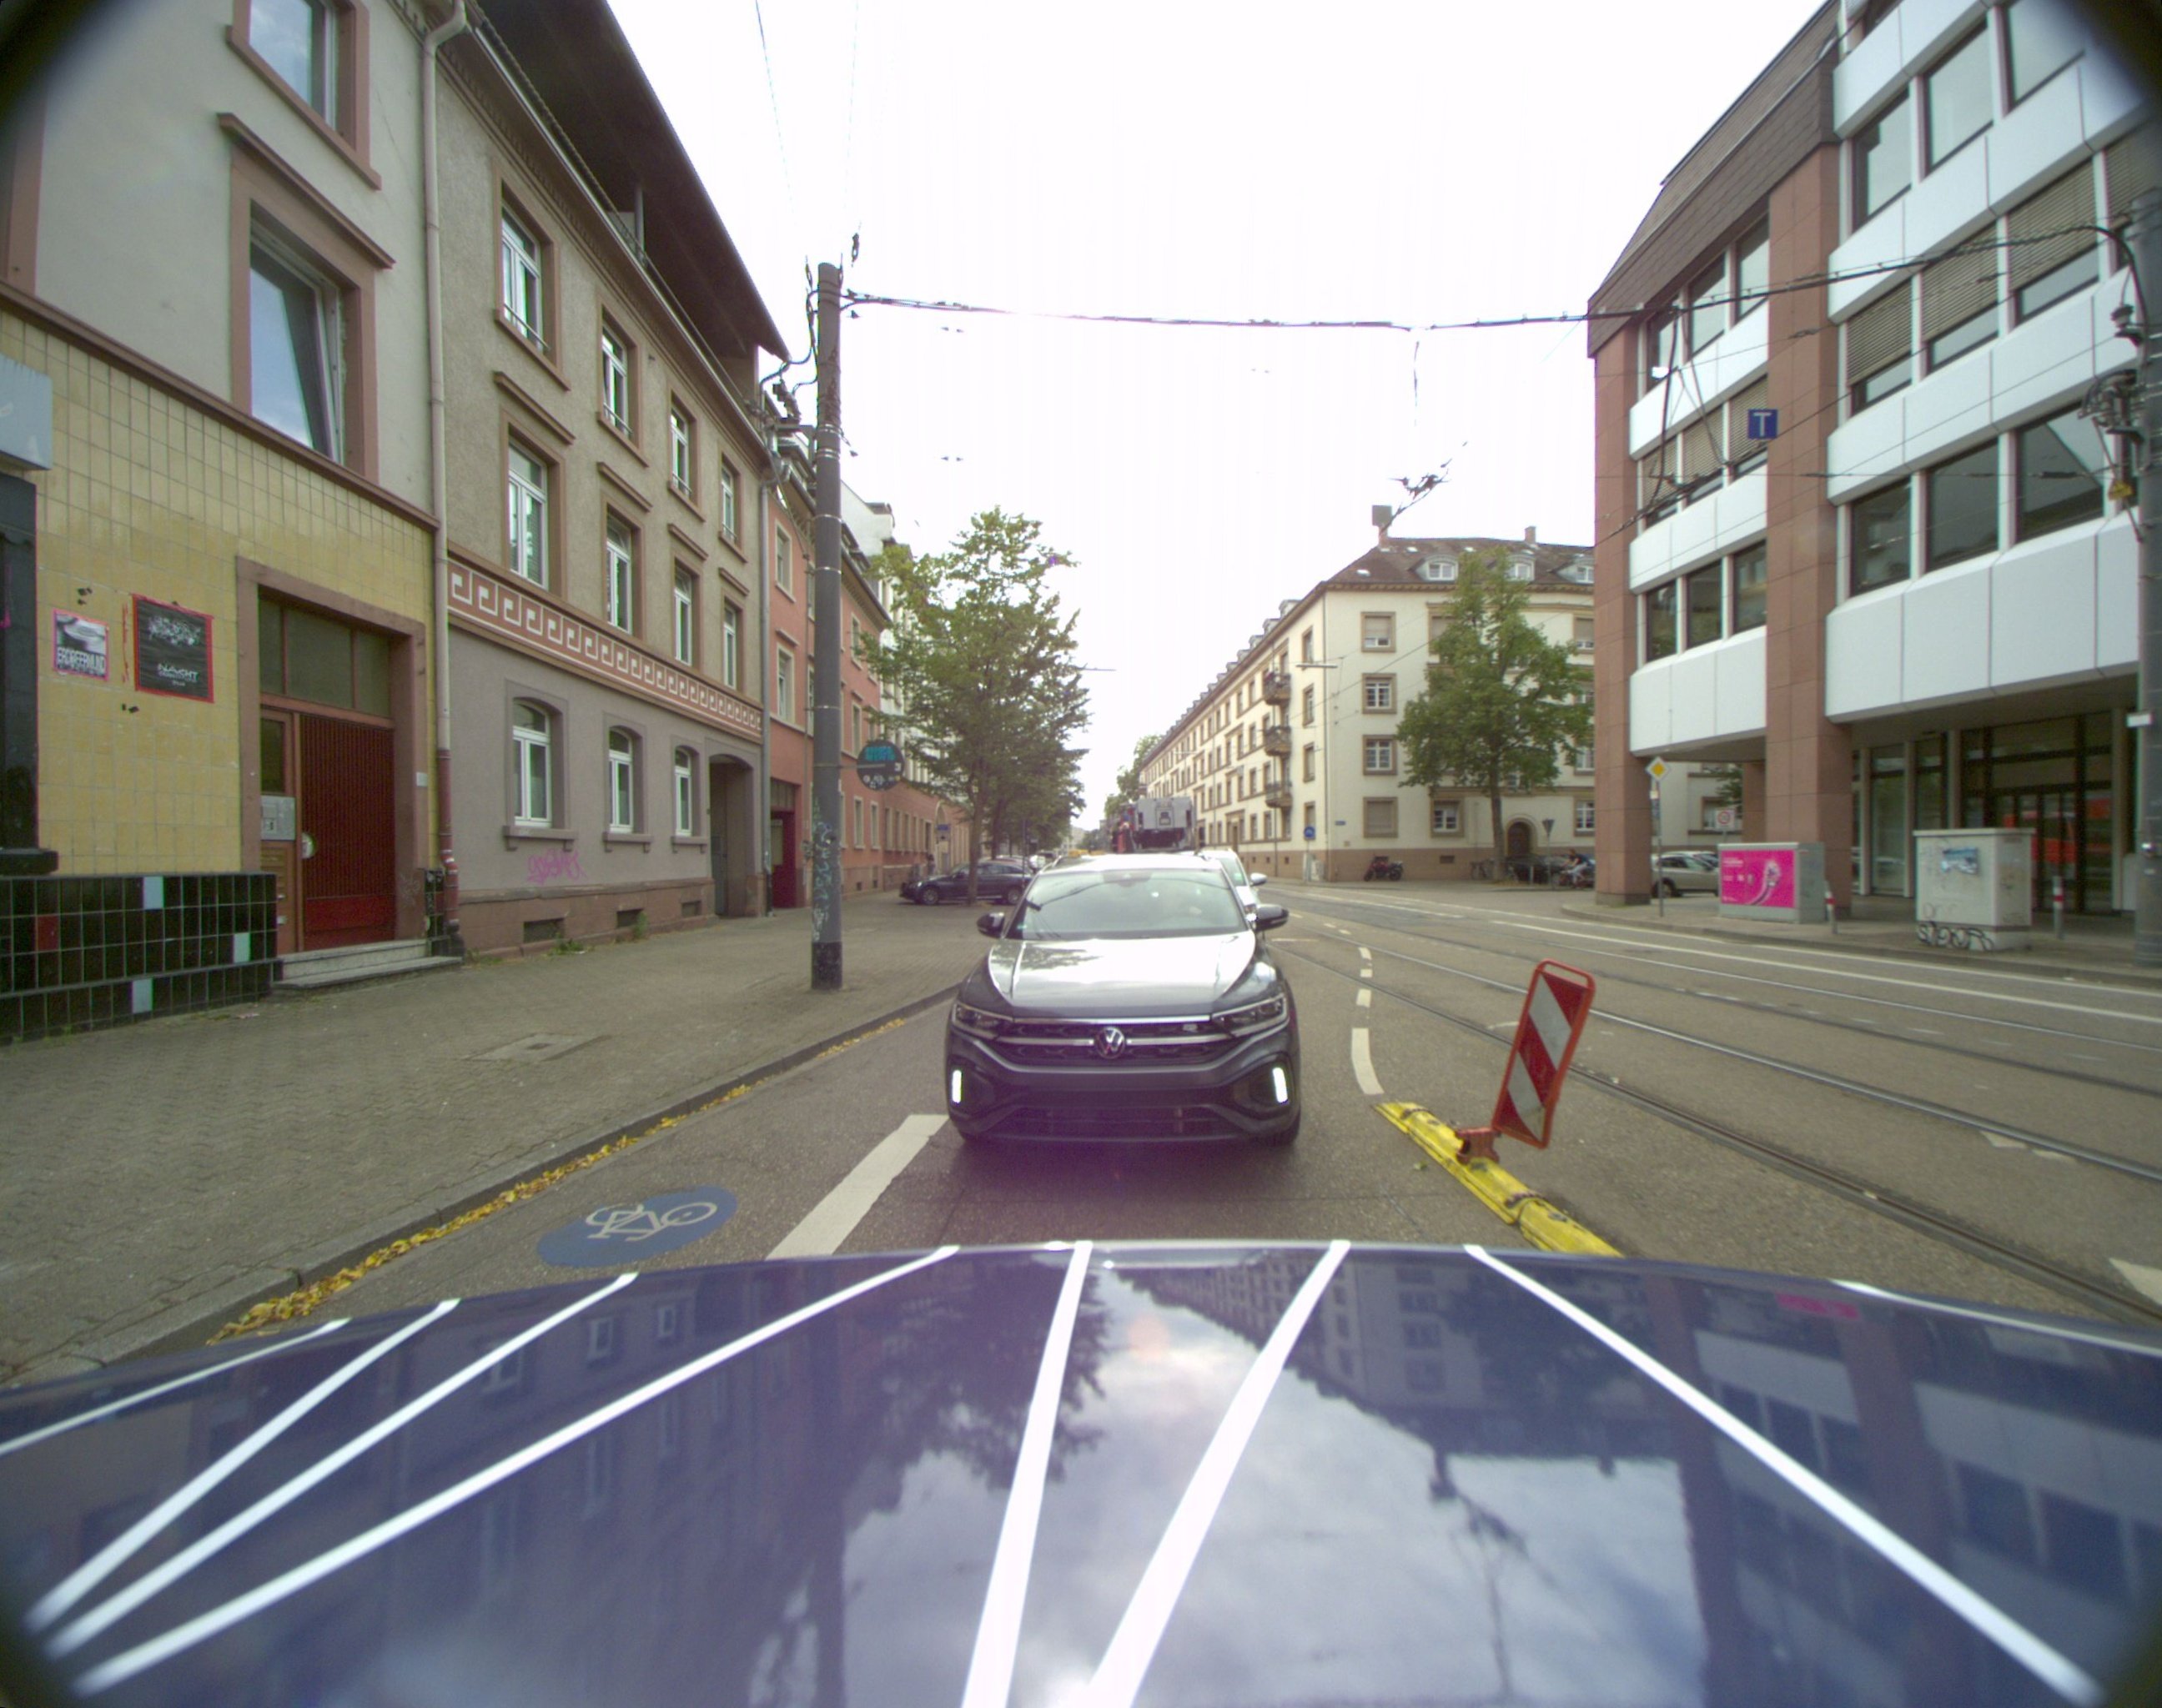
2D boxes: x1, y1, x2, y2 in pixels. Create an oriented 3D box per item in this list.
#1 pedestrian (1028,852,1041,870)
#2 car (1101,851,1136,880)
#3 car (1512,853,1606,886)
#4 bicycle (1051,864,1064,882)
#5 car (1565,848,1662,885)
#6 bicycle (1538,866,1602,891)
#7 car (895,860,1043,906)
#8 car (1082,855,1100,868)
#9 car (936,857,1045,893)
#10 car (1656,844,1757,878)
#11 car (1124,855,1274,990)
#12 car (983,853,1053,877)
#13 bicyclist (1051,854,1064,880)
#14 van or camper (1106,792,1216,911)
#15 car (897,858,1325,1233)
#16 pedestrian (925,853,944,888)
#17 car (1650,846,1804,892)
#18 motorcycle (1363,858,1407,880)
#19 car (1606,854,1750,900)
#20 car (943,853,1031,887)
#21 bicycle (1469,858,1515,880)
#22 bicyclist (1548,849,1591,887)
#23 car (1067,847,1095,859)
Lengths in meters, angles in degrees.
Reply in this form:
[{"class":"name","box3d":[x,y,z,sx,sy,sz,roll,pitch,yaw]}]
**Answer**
[{"class":"pedestrian","box3d":[-4.707,0.716,76.939,1.002,1.831,1.017,-1,1,-26]},{"class":"car","box3d":[2.242,0.671,46.873,1.998,1.698,4.053,-1,0,1]},{"class":"car","box3d":[21.159,0.654,33.832,1.611,1.388,3.874,-1,0,-3]},{"class":"bicycle","box3d":[-1.405,1.138,45.707,0.714,1.012,1.800,-2,0,-1]},{"class":"car","box3d":[23.559,0.519,33.795,1.611,1.538,3.715,-1,0,-3]},{"class":"bicycle","box3d":[19.192,0.973,29.828,2.010,0.959,0.673,-1,-1,6]},{"class":"car","box3d":[-3.788,0.955,25.703,4.635,1.464,1.786,1,0,-24]},{"class":"car","box3d":[1.118,0.846,86.014,1.911,1.478,4.000,-1,0,1]},{"class":"car","box3d":[-3.902,0.892,32.777,4.351,1.471,1.786,1,0,-24]},{"class":"car","box3d":[28.485,0.296,34.741,1.592,1.453,3.524,-1,0,-3]},{"class":"car","box3d":[1.604,0.845,11.409,1.773,1.582,4.283,-2,0,5]},{"class":"car","box3d":[-4.581,0.823,55.343,4.635,1.688,1.913,1,0,-24]},{"class":"bicyclist","box3d":[-1.426,0.772,45.642,0.715,1.498,0.918,-2,0,-1]},{"class":"van or camper","box3d":[2.487,-0.077,26.791,2.607,3.401,9.651,-1,0,-1]},{"class":"car","box3d":[0.281,0.845,5.375,1.773,1.538,4.283,-2,0,5]},{"class":"pedestrian","box3d":[-7.269,0.817,37.725,0.732,1.678,0.926,3,0,-1]},{"class":"car","box3d":[24.201,0.550,28.605,4.043,1.528,1.776,-2,0,9]},{"class":"motorcycle","box3d":[15.293,0.763,38.270,1.924,1.080,0.793,-1,0,-1]},{"class":"car","box3d":[19.182,0.701,24.456,3.650,1.380,1.611,-1,0,-9]},{"class":"car","box3d":[-4.946,0.833,39.913,4.245,1.688,1.736,1,0,-24]},{"class":"bicycle","box3d":[20.815,0.730,38.488,1.924,1.080,0.793,-1,0,-1]},{"class":"bicyclist","box3d":[19.161,0.546,29.827,1.258,1.453,0.678,-1,0,6]},{"class":"car","box3d":[-0.052,-0.102,138.375,2.553,2.142,5.915,-1,0,-28]}]
